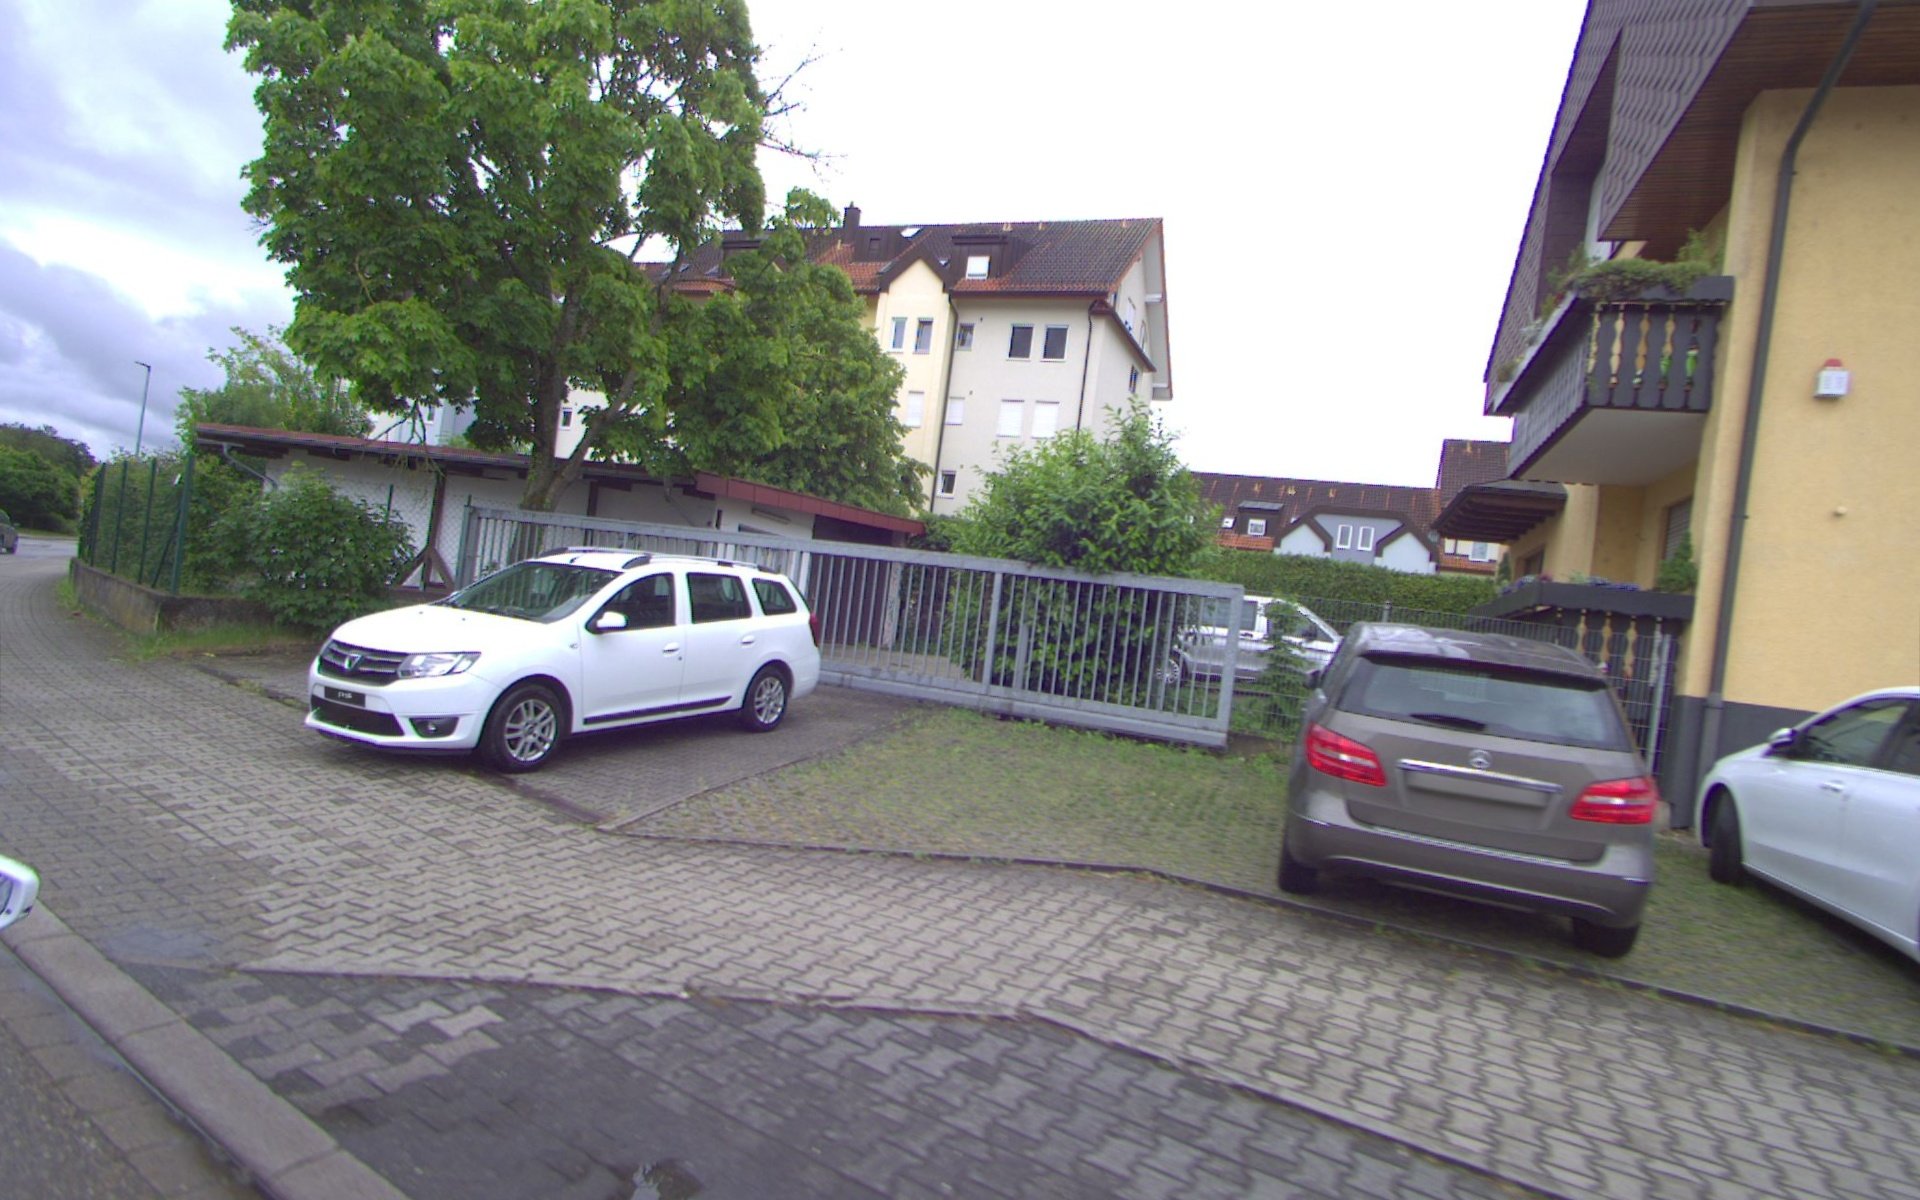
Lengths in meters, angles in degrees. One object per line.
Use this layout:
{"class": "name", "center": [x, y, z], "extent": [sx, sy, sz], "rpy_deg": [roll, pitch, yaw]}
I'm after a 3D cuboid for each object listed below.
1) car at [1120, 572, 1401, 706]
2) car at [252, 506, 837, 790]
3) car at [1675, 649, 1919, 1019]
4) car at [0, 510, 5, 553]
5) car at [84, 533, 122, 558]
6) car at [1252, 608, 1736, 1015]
{"class": "car", "center": [5.786, 0.767, 19.590], "extent": [4.843, 2.036, 2.002], "rpy_deg": [5, -3, 20]}
{"class": "car", "center": [-3.020, 0.297, 8.373], "extent": [1.735, 1.618, 4.345], "rpy_deg": [6, 2, 27]}
{"class": "car", "center": [5.824, 1.261, 5.493], "extent": [1.860, 1.618, 4.053], "rpy_deg": [6, 2, 18]}
{"class": "car", "center": [-33.179, -2.309, 33.561], "extent": [1.761, 1.526, 3.954], "rpy_deg": [8, -5, -43]}
{"class": "car", "center": [-68.685, -4.387, 80.646], "extent": [1.892, 1.676, 4.075], "rpy_deg": [8, -2, -37]}
{"class": "car", "center": [3.118, 0.954, 6.638], "extent": [1.869, 1.618, 4.053], "rpy_deg": [6, 2, 20]}
